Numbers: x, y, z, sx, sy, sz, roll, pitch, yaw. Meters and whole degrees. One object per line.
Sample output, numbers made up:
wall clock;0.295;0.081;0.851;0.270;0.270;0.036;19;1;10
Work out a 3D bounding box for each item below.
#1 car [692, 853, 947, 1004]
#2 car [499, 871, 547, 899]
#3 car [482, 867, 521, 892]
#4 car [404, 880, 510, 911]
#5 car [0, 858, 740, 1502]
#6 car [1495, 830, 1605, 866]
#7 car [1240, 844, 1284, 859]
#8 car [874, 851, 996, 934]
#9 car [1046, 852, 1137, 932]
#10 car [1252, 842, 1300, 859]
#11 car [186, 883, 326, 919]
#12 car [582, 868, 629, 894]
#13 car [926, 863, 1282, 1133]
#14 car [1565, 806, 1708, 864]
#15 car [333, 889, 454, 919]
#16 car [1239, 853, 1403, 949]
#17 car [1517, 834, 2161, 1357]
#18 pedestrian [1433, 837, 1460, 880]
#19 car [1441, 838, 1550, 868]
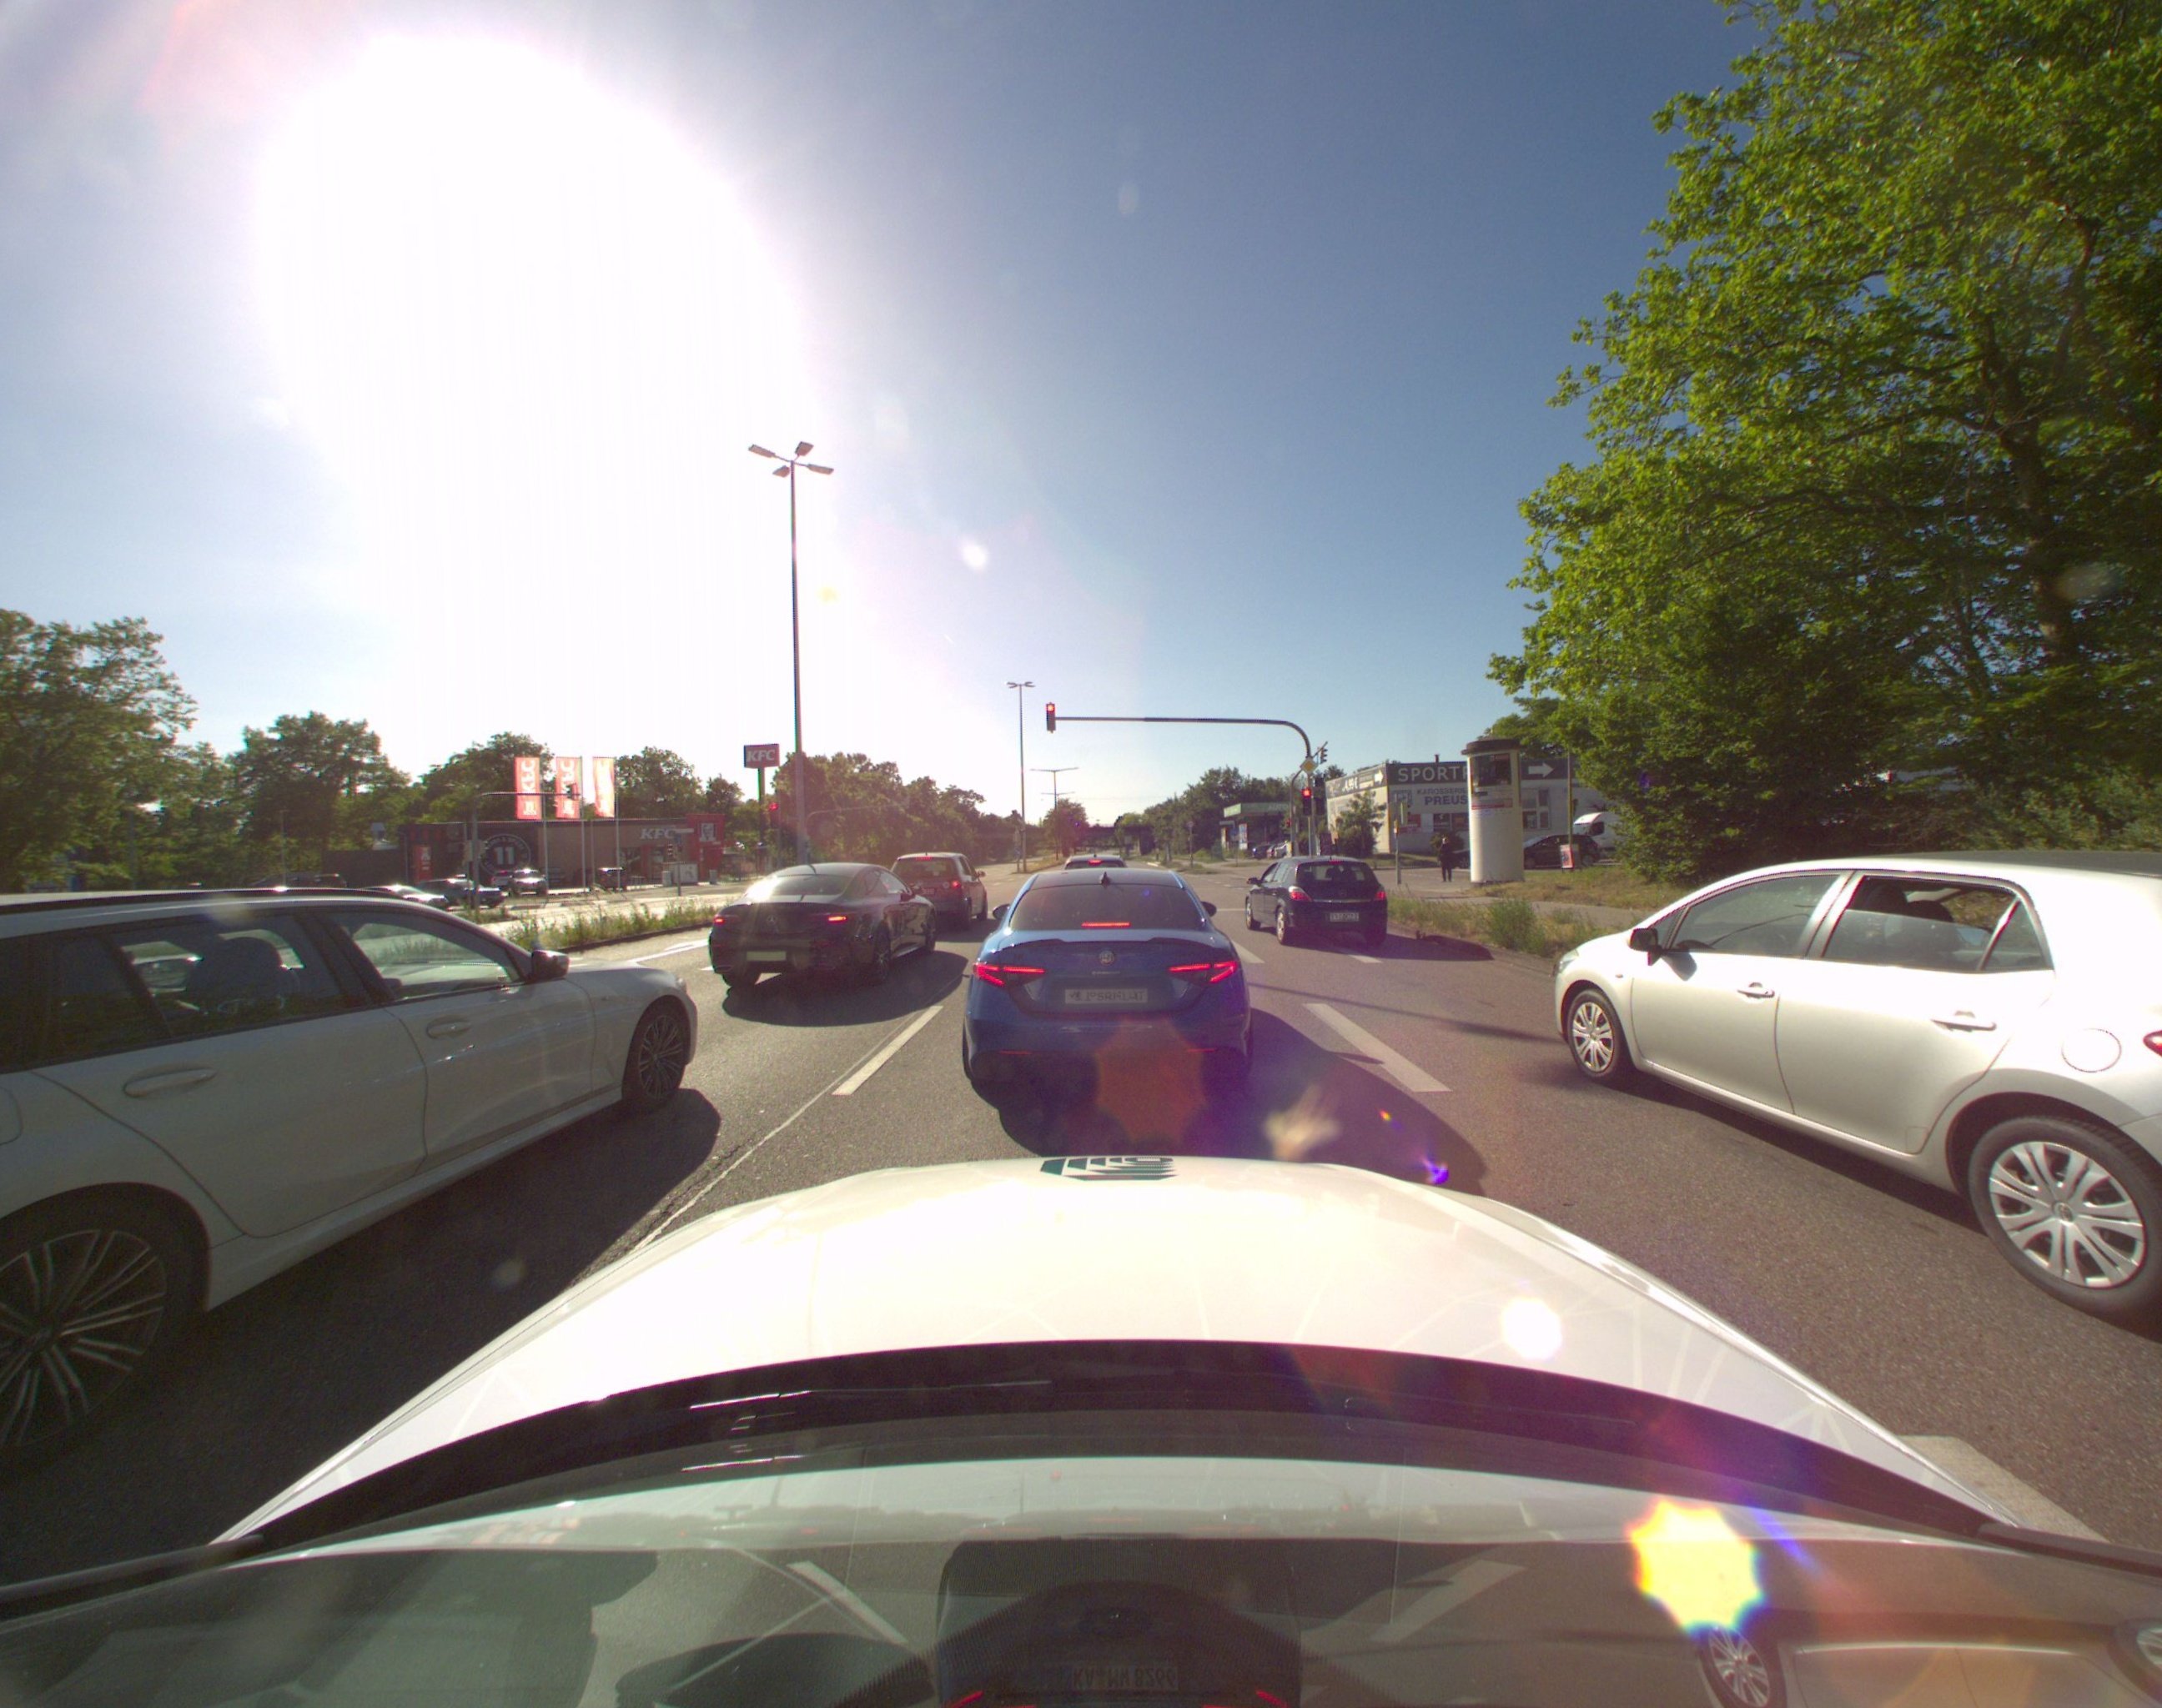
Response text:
car;-3.115;0.783;10.800;1.806;1.551;4.544;-1;0;1
car;-37.378;2.044;54.545;1.946;1.740;4.046;0;-1;-45
car;-44.630;1.919;62.690;2.011;1.813;3.727;0;-1;-43
car;-31.917;2.115;41.743;3.939;1.453;1.937;0;-1;2
car;-3.397;0.795;3.409;1.805;1.486;4.599;-1;0;2
car;22.240;-0.254;38.703;4.291;1.650;1.638;0;-1;1
car;18.448;-0.255;83.057;3.995;1.552;1.989;0;-1;-16
car;-3.005;0.744;17.613;1.806;1.551;4.353;0;-1;0
car;0.315;0.725;17.094;1.696;1.497;3.722;0;-1;3
car;17.819;-0.326;74.446;3.971;1.552;2.001;0;-1;2
car;-39.092;2.215;38.682;4.608;1.579;1.936;0;-1;0
car;-33.911;1.886;58.016;1.946;1.740;4.046;0;-1;-45
car;0.228;0.791;6.224;1.901;1.423;3.722;0;-1;3
car;28.595;-0.952;42.070;5.812;2.672;2.001;-3;-1;2
car;-32.179;2.337;38.199;4.070;1.252;1.871;0;-1;0
car;4.057;0.716;14.509;1.727;1.442;4.373;0;0;2
car;4.108;0.694;4.058;1.777;1.537;4.109;0;0;2
pedestrian;14.195;0.180;31.654;0.814;1.669;0.514;0;-1;1
car;21.452;-0.052;42.278;4.803;1.468;1.758;0;-1;0
